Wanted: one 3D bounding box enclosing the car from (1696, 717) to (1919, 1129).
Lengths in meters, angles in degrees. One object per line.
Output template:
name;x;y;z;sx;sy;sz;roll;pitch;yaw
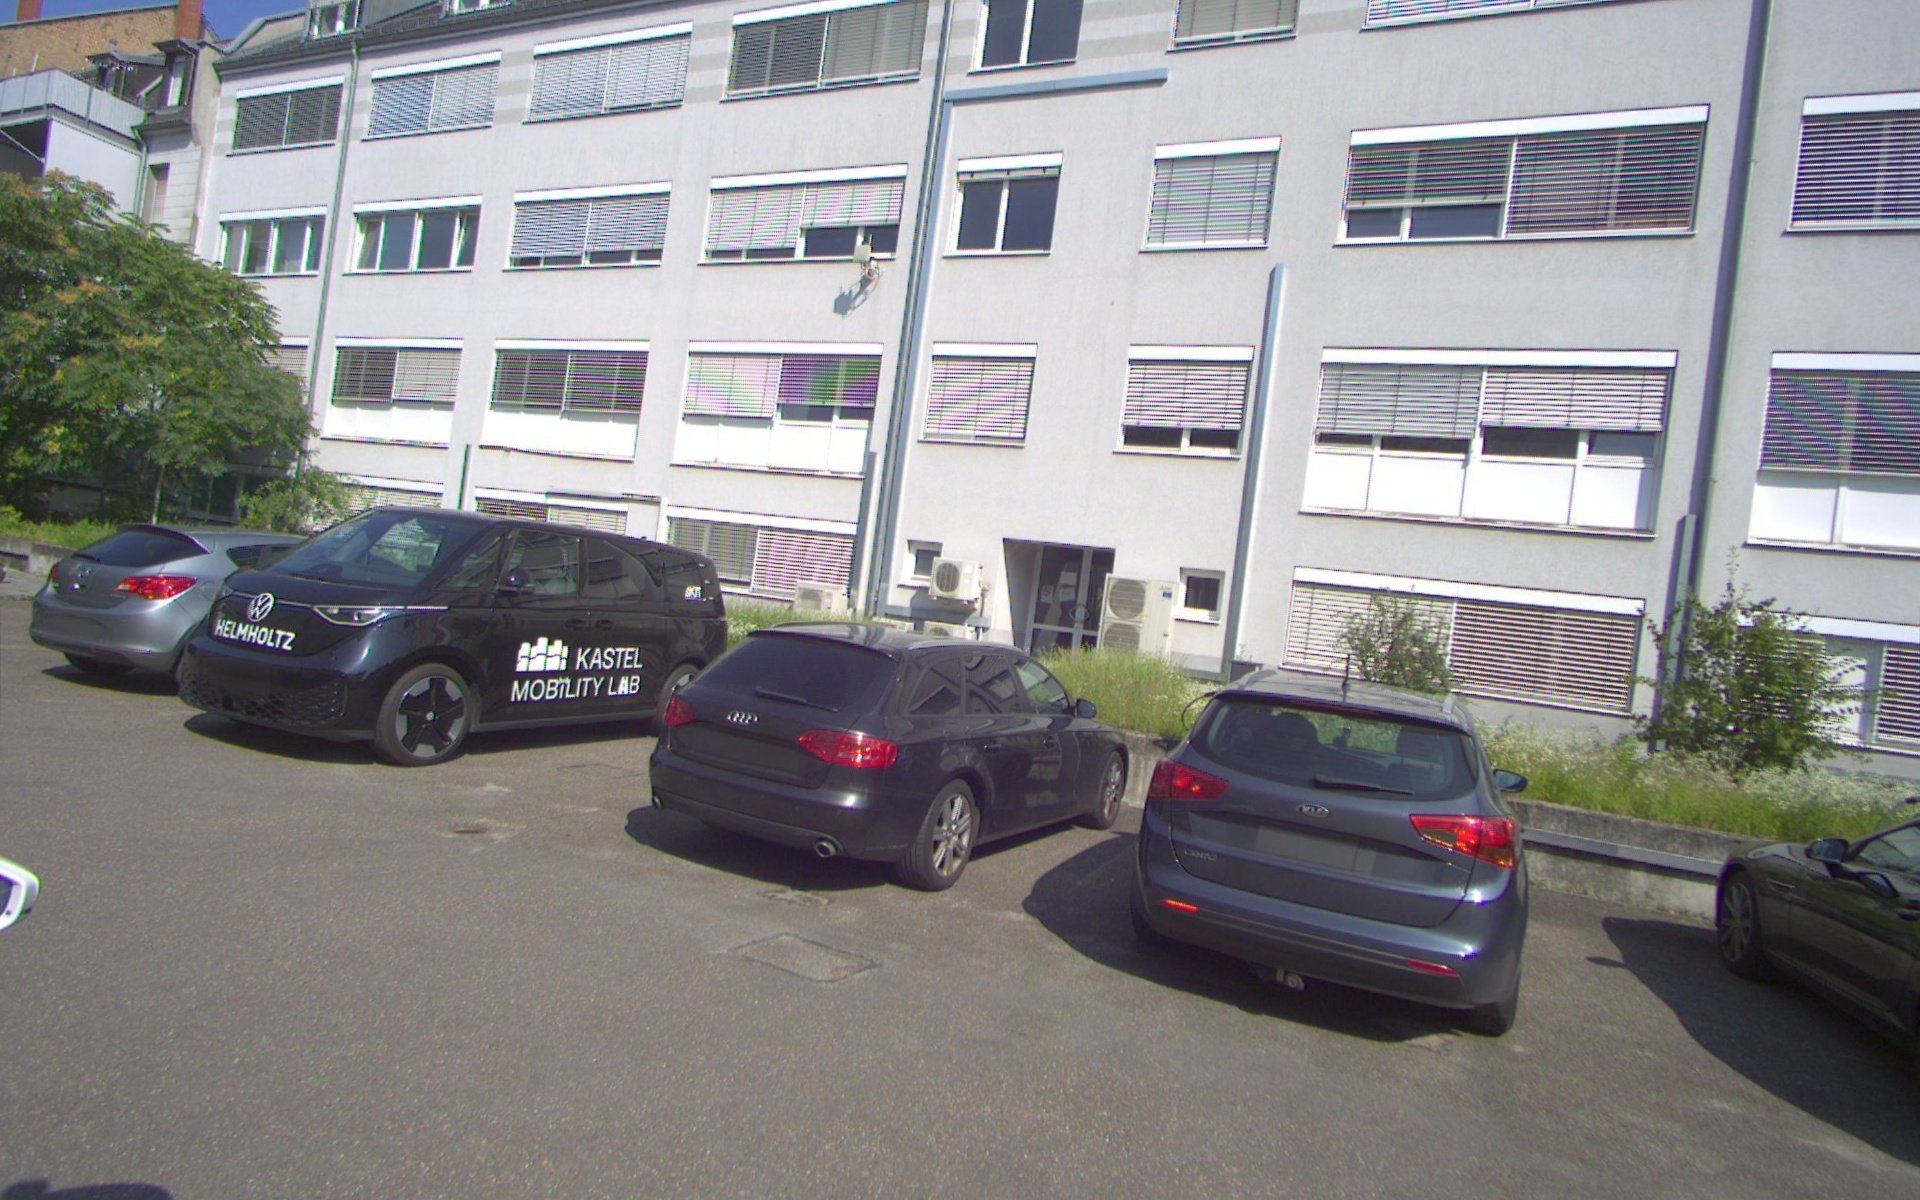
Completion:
car;5.144;1.520;4.521;1.862;1.607;3.814;7;-2;21

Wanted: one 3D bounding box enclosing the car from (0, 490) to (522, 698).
car;-6.558;0.051;9.897;1.742;1.500;3.946;6;-1;21

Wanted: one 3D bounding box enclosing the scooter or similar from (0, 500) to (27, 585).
scooter or similar;-15.185;-0.947;15.390;1.324;1.276;0.379;7;1;-2

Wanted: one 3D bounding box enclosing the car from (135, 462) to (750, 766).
car;-3.951;0.194;8.731;1.848;1.815;4.516;6;-1;21

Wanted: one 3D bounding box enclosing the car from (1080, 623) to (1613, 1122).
car;2.266;1.171;5.806;1.846;1.607;3.874;7;-2;25

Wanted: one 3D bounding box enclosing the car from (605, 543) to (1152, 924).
car;-0.186;0.808;7.061;1.740;1.711;4.128;7;-2;28
